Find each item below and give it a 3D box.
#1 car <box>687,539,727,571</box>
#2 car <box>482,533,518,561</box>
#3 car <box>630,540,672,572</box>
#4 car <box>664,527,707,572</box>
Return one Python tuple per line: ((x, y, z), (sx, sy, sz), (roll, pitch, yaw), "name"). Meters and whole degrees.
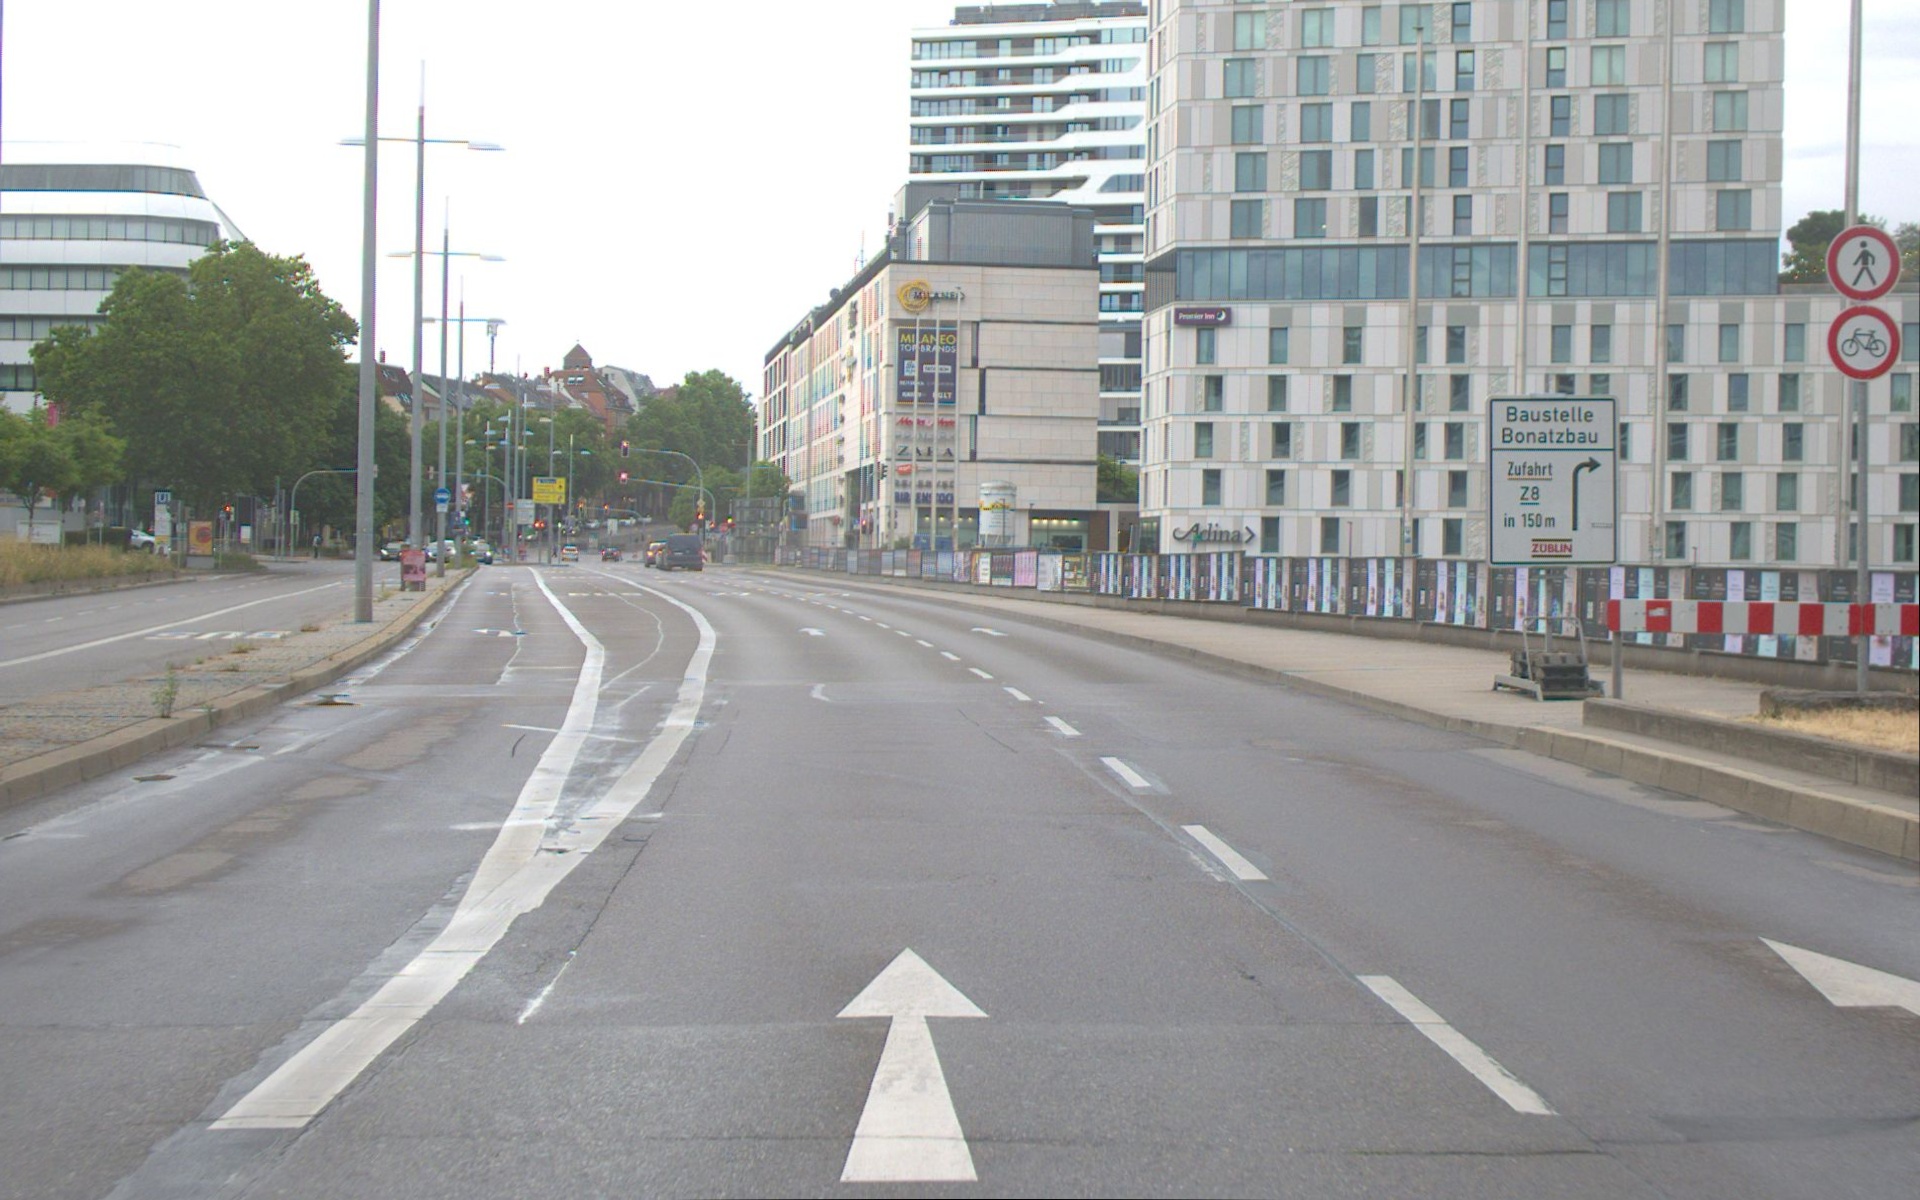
((-15.472, -2.774, 210.476), (1.994, 1.809, 4.000), (0, 2, 2), "car")
((-31.742, -3.664, 237.354), (1.993, 1.776, 4.001), (0, 2, -1), "car")
((-18.704, -2.660, 208.053), (1.994, 1.809, 4.000), (0, 2, 2), "car")
((-14.482, -2.670, 181.576), (1.993, 2.335, 4.000), (1, 1, -1), "car")
